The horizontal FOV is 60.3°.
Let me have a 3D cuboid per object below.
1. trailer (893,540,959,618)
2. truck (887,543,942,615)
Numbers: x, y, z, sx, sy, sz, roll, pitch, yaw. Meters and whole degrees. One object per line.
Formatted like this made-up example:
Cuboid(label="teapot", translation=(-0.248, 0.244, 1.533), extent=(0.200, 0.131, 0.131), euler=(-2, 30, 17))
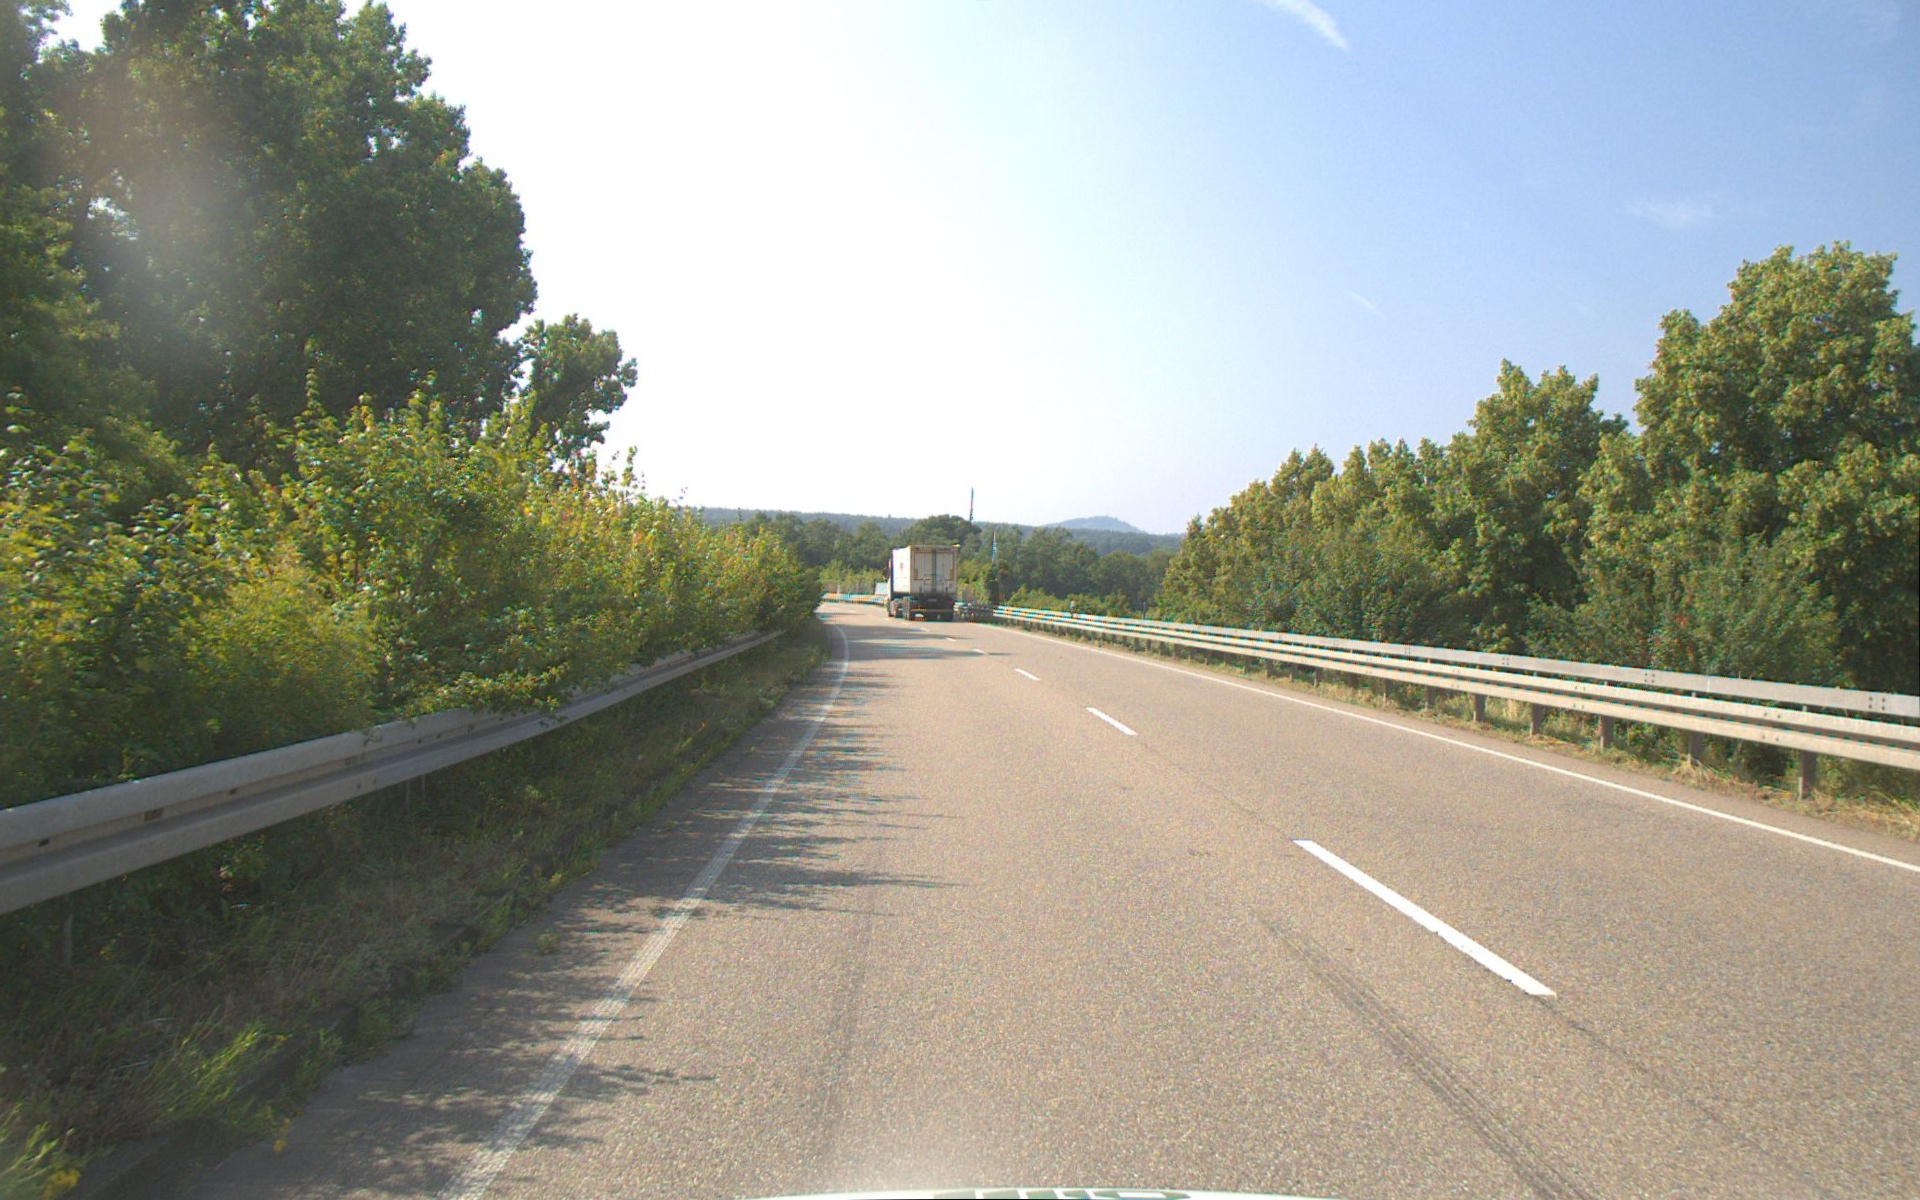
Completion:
Cuboid(label="trailer", translation=(-1.947, -1.134, 90.059), extent=(2.628, 3.975, 9.658), euler=(1, 0, -7))
Cuboid(label="truck", translation=(-2.680, -1.213, 95.978), extent=(2.608, 3.964, 5.639), euler=(1, 1, -7))
